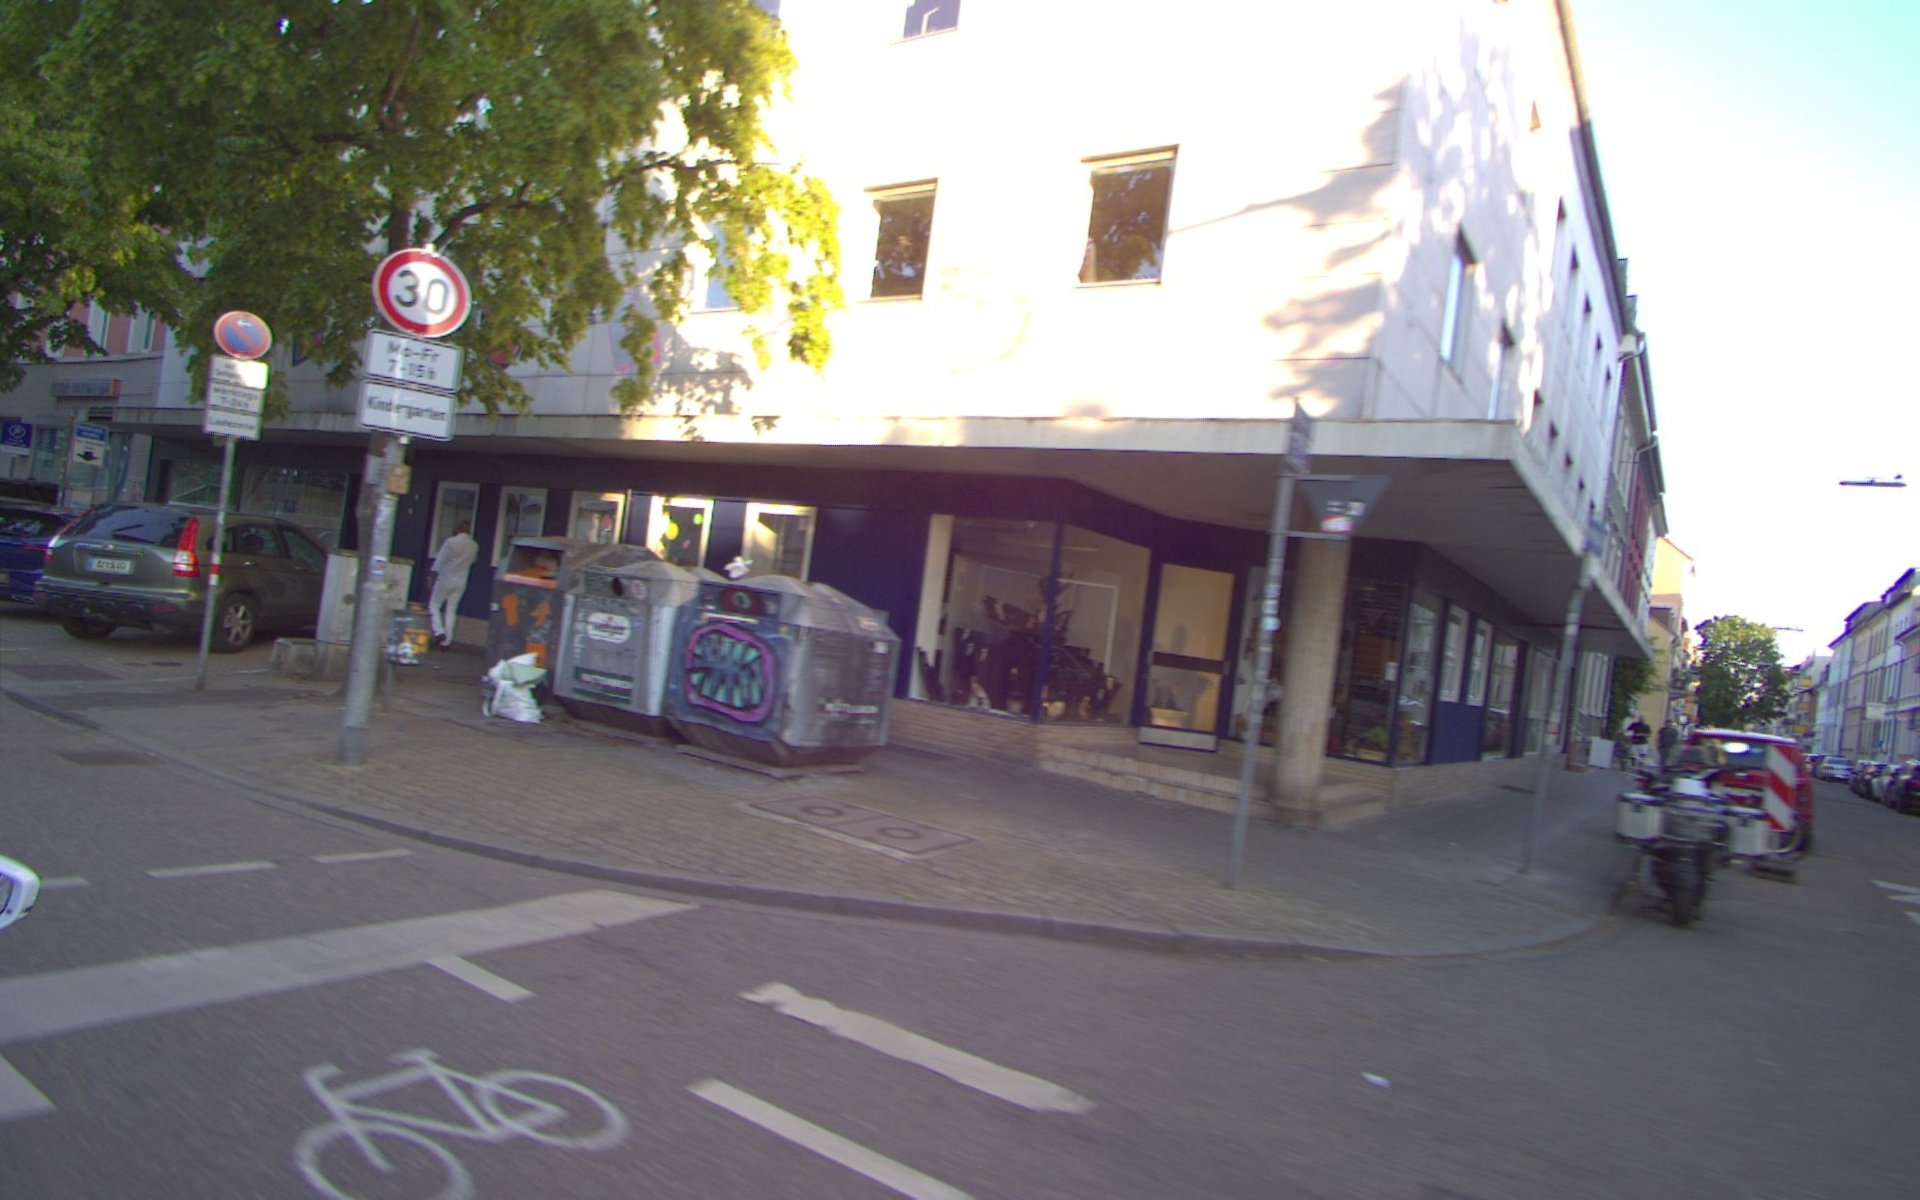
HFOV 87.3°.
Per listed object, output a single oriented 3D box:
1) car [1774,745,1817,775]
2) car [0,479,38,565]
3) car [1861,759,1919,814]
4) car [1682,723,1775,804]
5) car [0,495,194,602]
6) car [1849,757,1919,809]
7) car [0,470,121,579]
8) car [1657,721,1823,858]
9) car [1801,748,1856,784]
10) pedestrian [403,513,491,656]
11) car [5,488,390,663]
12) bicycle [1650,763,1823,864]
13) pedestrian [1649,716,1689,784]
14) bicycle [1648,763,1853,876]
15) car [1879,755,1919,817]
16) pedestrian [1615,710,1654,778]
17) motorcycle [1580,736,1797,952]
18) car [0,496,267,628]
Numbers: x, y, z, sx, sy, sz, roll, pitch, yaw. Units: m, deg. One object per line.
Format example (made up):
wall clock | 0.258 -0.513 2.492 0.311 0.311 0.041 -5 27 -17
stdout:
car | 56.780 10.849 68.408 1.825 1.680 3.743 7 -2 36
car | -20.315 -1.696 18.713 1.938 1.670 4.226 7 1 13
car | 34.689 6.862 36.938 1.825 1.637 3.888 7 -2 36
car | 21.778 4.587 28.623 1.825 1.826 3.888 7 -2 36
car | -14.541 -0.831 15.565 1.934 1.483 4.167 7 1 3
car | 37.186 7.290 40.314 1.825 1.637 3.888 7 -2 36
car | -18.091 -1.492 17.497 2.166 1.850 4.980 7 1 13
car | 13.071 3.065 16.860 1.827 1.688 4.347 7 -2 39
car | 50.912 9.725 59.054 1.824 1.637 3.891 7 -2 34
pedestrian | -7.583 -0.222 14.880 0.772 2.011 0.692 7 2 31
car | -9.384 -0.289 12.915 1.809 1.685 4.164 7 1 -3
bicycle | 11.251 3.077 14.642 1.839 1.068 0.526 6 -2 27
pedestrian | 21.674 4.564 30.755 0.787 1.922 0.732 7 -1 36
bicycle | 10.710 2.938 13.711 2.068 1.068 0.590 6 -2 40
car | 31.028 6.031 32.182 1.825 1.784 3.888 7 -2 36
pedestrian | 20.784 4.421 30.986 0.787 1.922 0.990 7 -1 36
motorcycle | 6.339 2.007 8.772 1.271 1.420 2.092 6 -3 38
car | -12.056 -0.534 14.154 1.780 1.521 3.892 7 1 0
